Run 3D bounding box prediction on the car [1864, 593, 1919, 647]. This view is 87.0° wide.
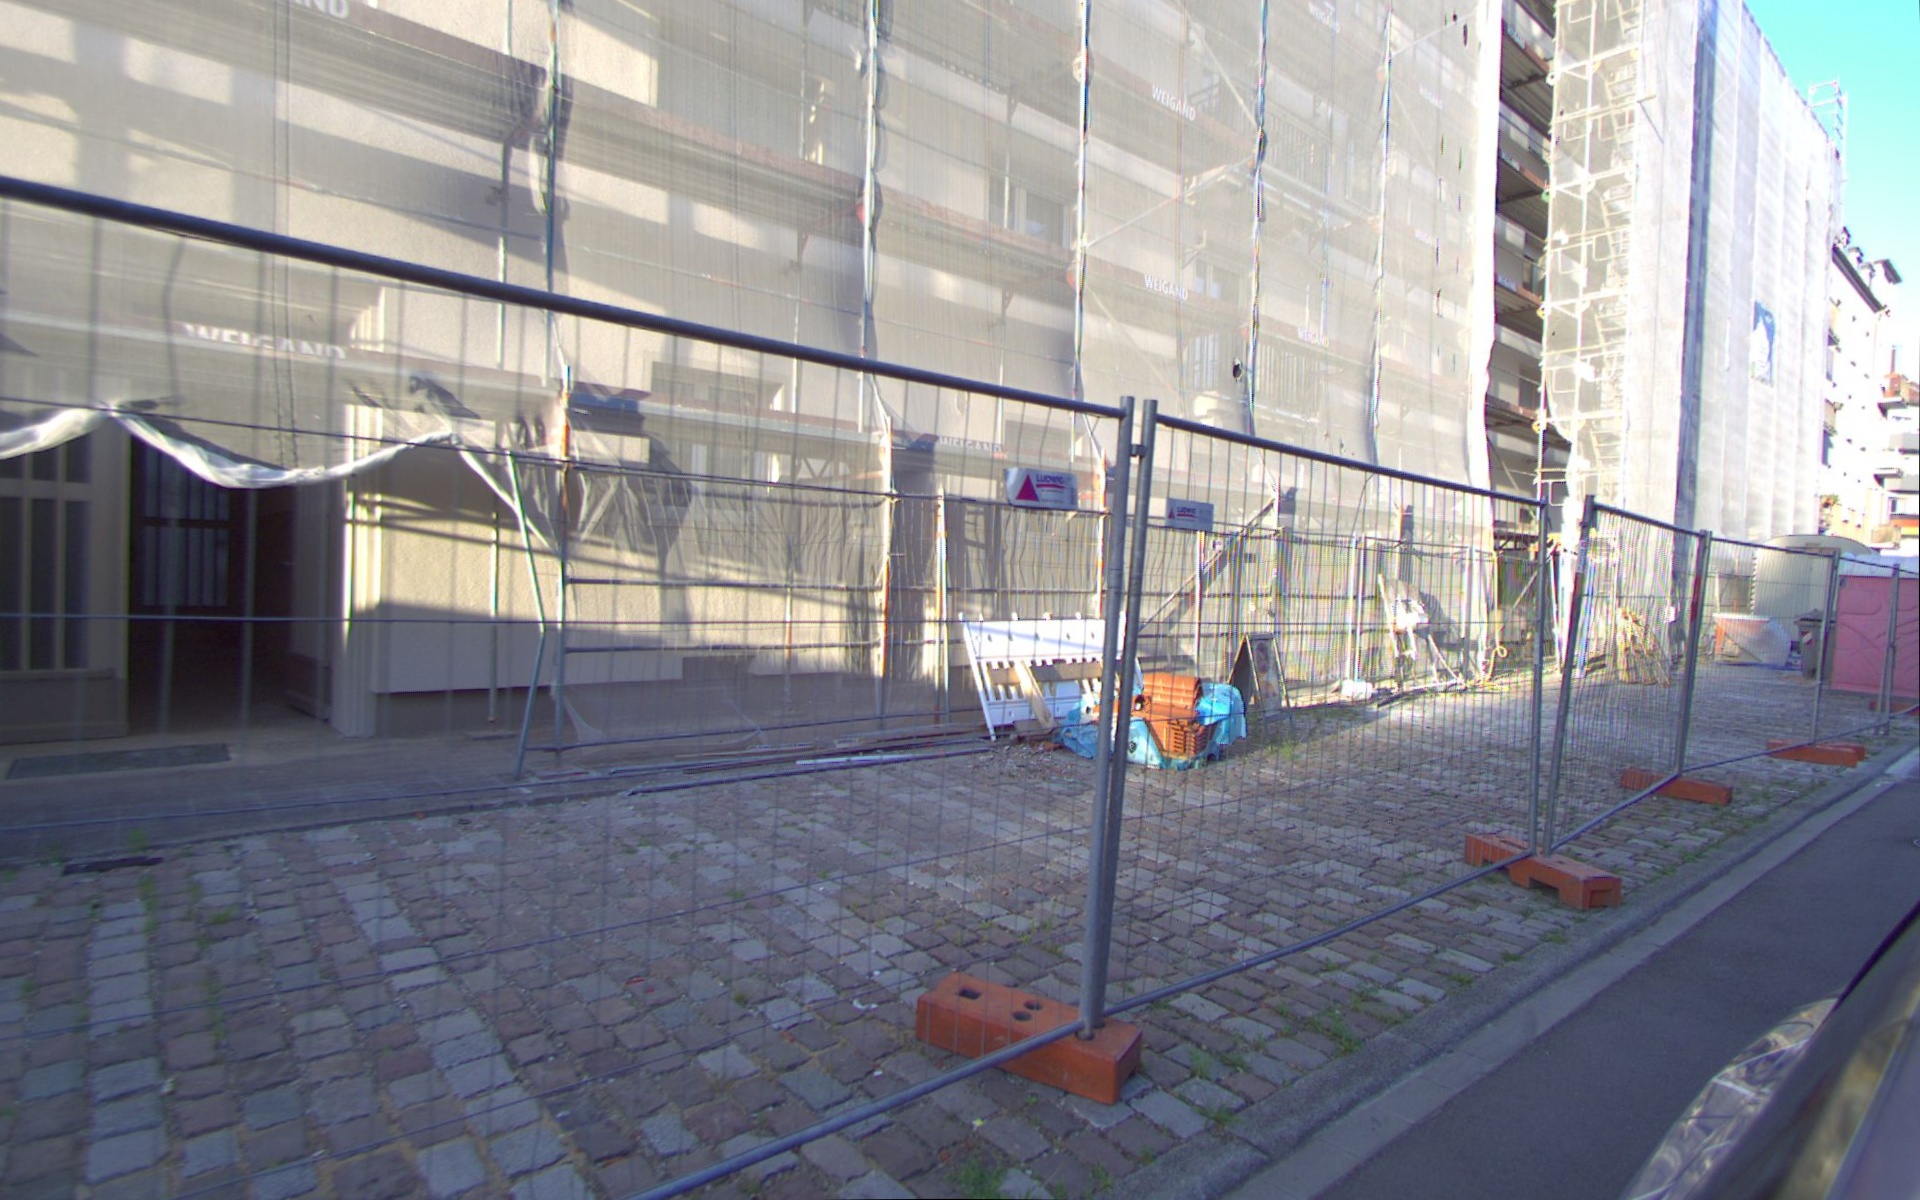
[{"bbox_3d":[31.227,0.693,31.611,1.837,1.635,4.165,1,2,-38],"label":"car"}]

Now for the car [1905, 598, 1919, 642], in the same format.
[{"bbox_3d":[38.517,0.850,38.197,1.871,1.658,3.992,1,2,-43],"label":"car"}]
